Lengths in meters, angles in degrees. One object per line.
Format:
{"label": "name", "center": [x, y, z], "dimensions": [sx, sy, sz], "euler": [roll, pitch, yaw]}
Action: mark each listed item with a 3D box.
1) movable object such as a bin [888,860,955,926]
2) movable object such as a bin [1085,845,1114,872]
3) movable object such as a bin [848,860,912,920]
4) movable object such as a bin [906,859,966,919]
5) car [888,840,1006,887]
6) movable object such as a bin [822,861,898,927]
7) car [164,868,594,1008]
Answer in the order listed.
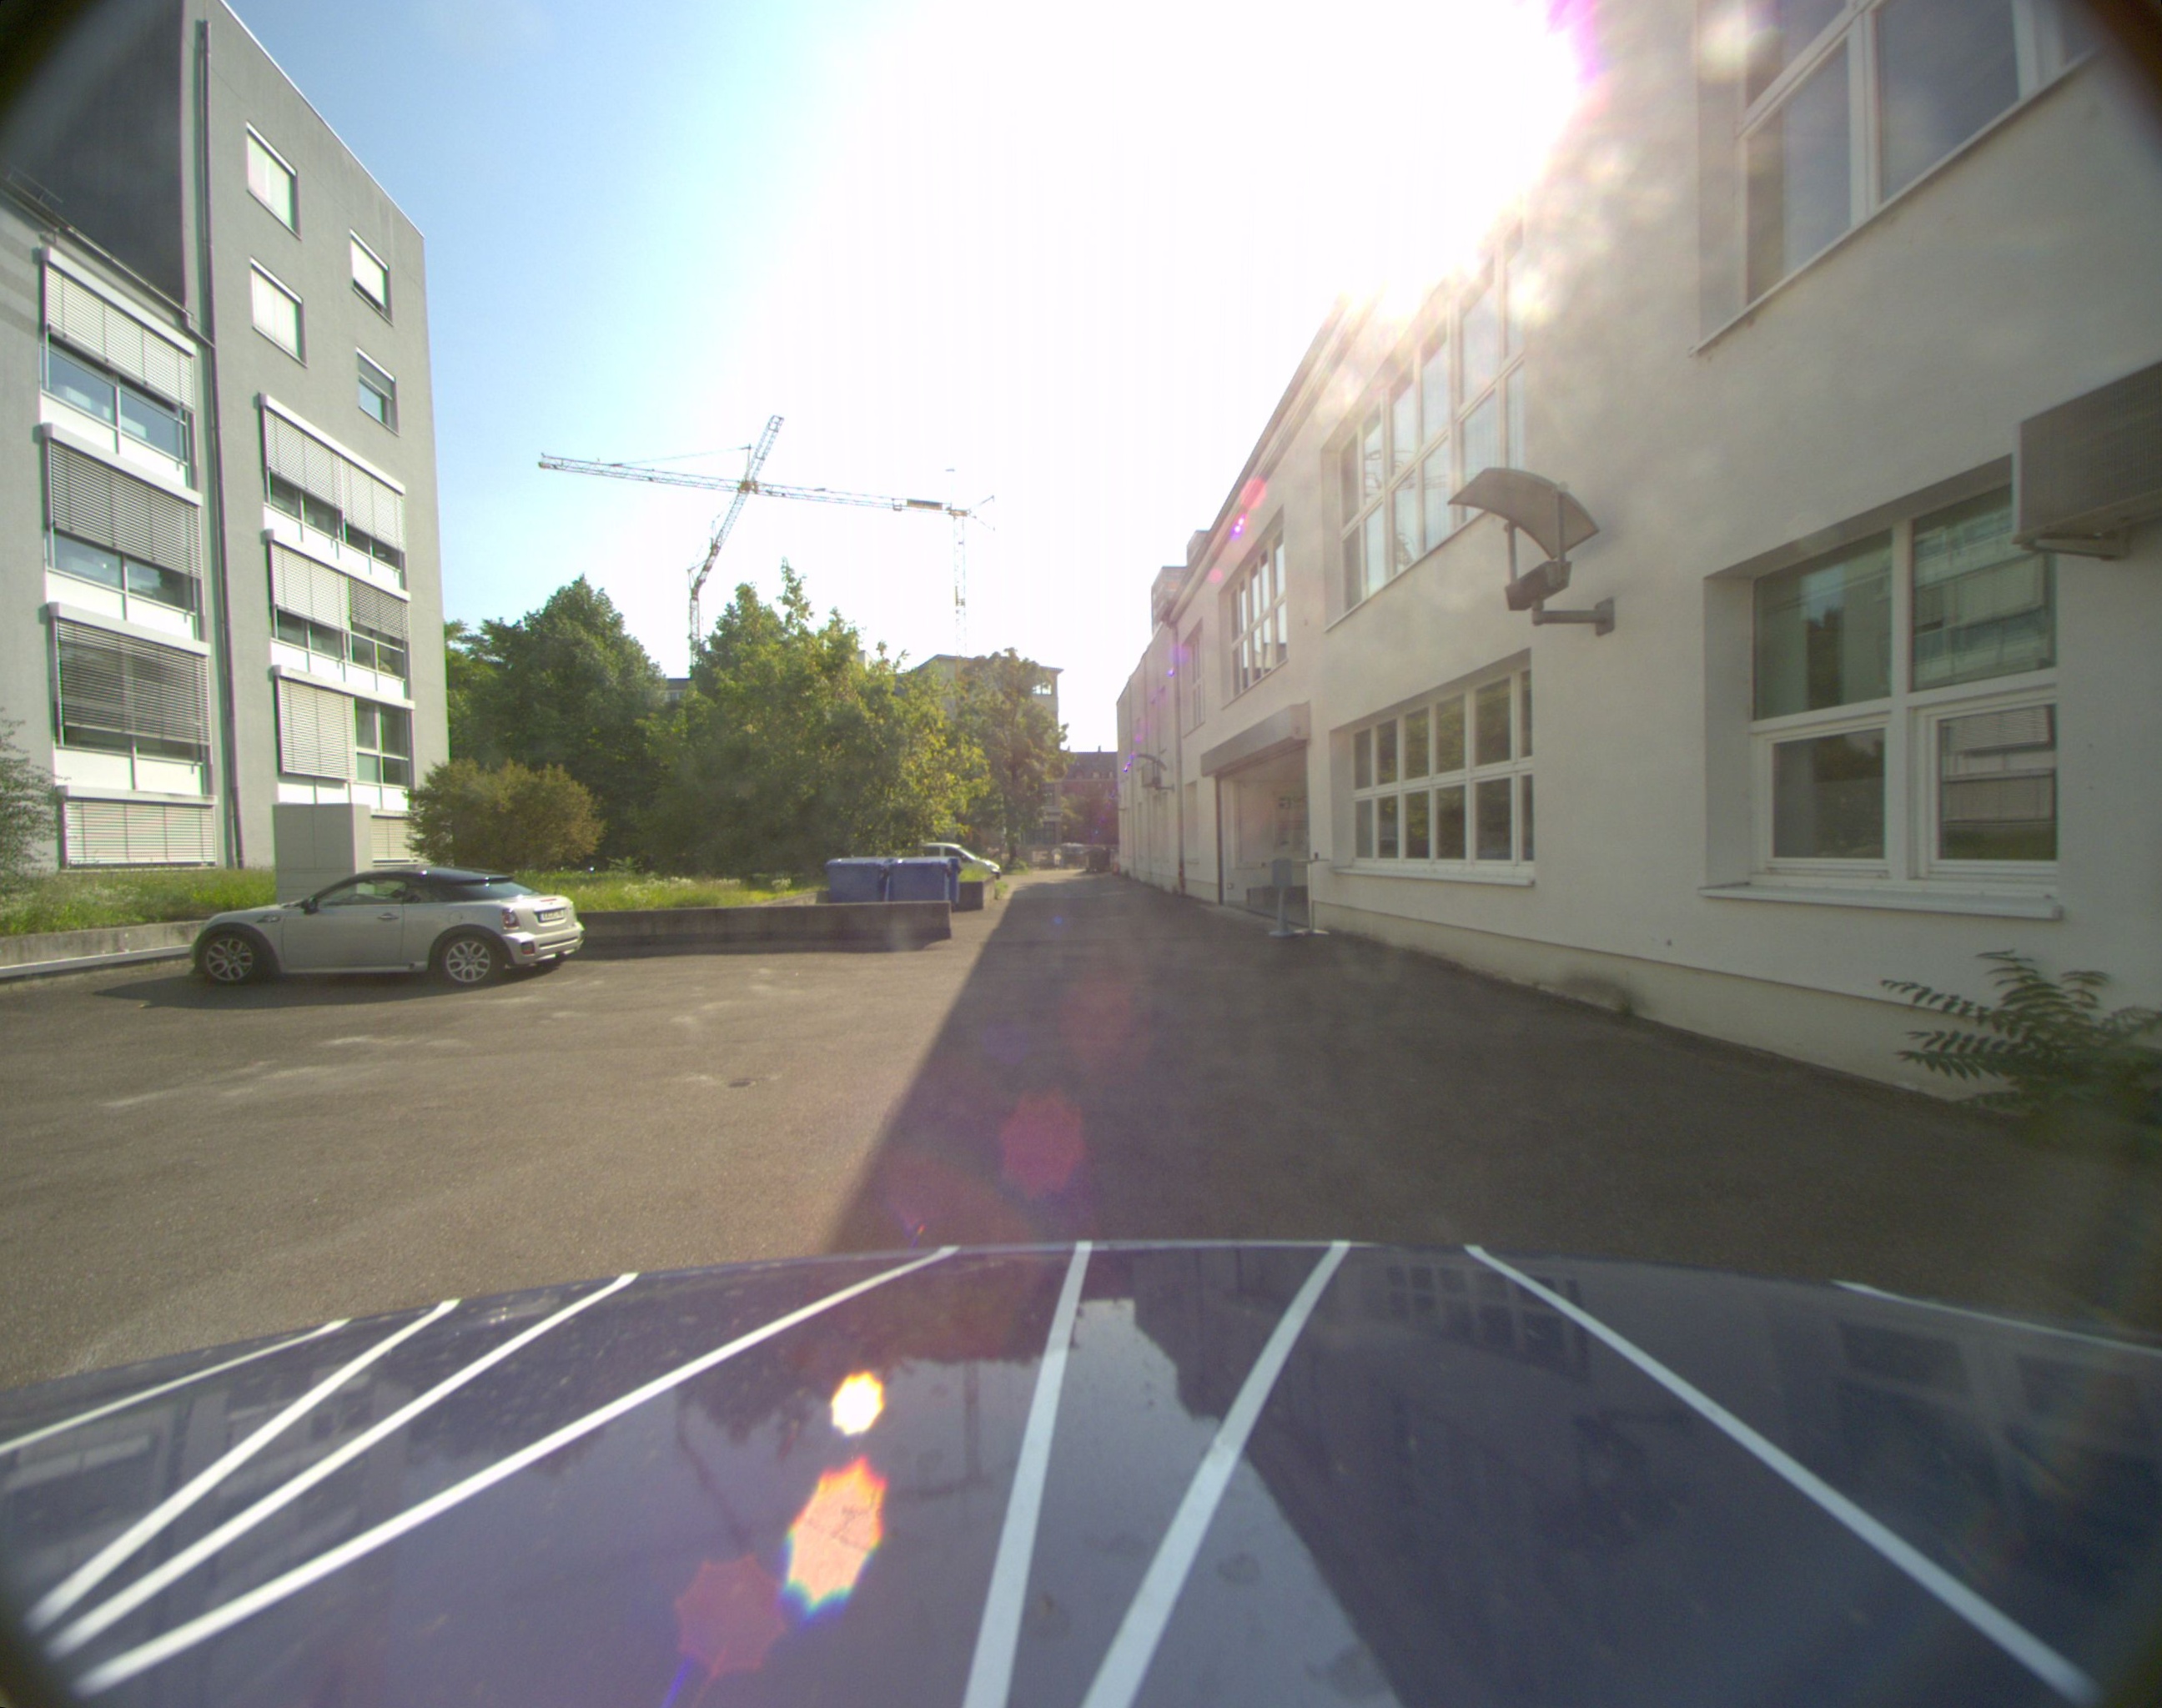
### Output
{"label": "movable object such as a bin", "center": [-3.455, 0.822, 16.599], "dimensions": [1.214, 1.343, 1.274], "euler": [-2, 1, -4]}
{"label": "movable object such as a bin", "center": [1.056, 0.246, 43.341], "dimensions": [1.525, 1.457, 1.274], "euler": [-2, 1, -3]}
{"label": "movable object such as a bin", "center": [-4.763, 0.827, 18.115], "dimensions": [1.200, 1.320, 1.274], "euler": [-2, 1, -2]}
{"label": "movable object such as a bin", "center": [-3.428, 0.807, 18.133], "dimensions": [1.200, 1.320, 1.274], "euler": [-2, 1, -2]}
{"label": "car", "center": [-5.816, 0.384, 33.414], "dimensions": [4.790, 1.920, 1.908], "euler": [-1, 1, -1]}
{"label": "movable object such as a bin", "center": [-4.783, 0.842, 16.553], "dimensions": [1.257, 1.320, 1.274], "euler": [-2, 1, -2]}
{"label": "car", "center": [-8.379, 0.946, 9.381], "dimensions": [3.581, 1.429, 1.658], "euler": [-1, 1, -6]}
